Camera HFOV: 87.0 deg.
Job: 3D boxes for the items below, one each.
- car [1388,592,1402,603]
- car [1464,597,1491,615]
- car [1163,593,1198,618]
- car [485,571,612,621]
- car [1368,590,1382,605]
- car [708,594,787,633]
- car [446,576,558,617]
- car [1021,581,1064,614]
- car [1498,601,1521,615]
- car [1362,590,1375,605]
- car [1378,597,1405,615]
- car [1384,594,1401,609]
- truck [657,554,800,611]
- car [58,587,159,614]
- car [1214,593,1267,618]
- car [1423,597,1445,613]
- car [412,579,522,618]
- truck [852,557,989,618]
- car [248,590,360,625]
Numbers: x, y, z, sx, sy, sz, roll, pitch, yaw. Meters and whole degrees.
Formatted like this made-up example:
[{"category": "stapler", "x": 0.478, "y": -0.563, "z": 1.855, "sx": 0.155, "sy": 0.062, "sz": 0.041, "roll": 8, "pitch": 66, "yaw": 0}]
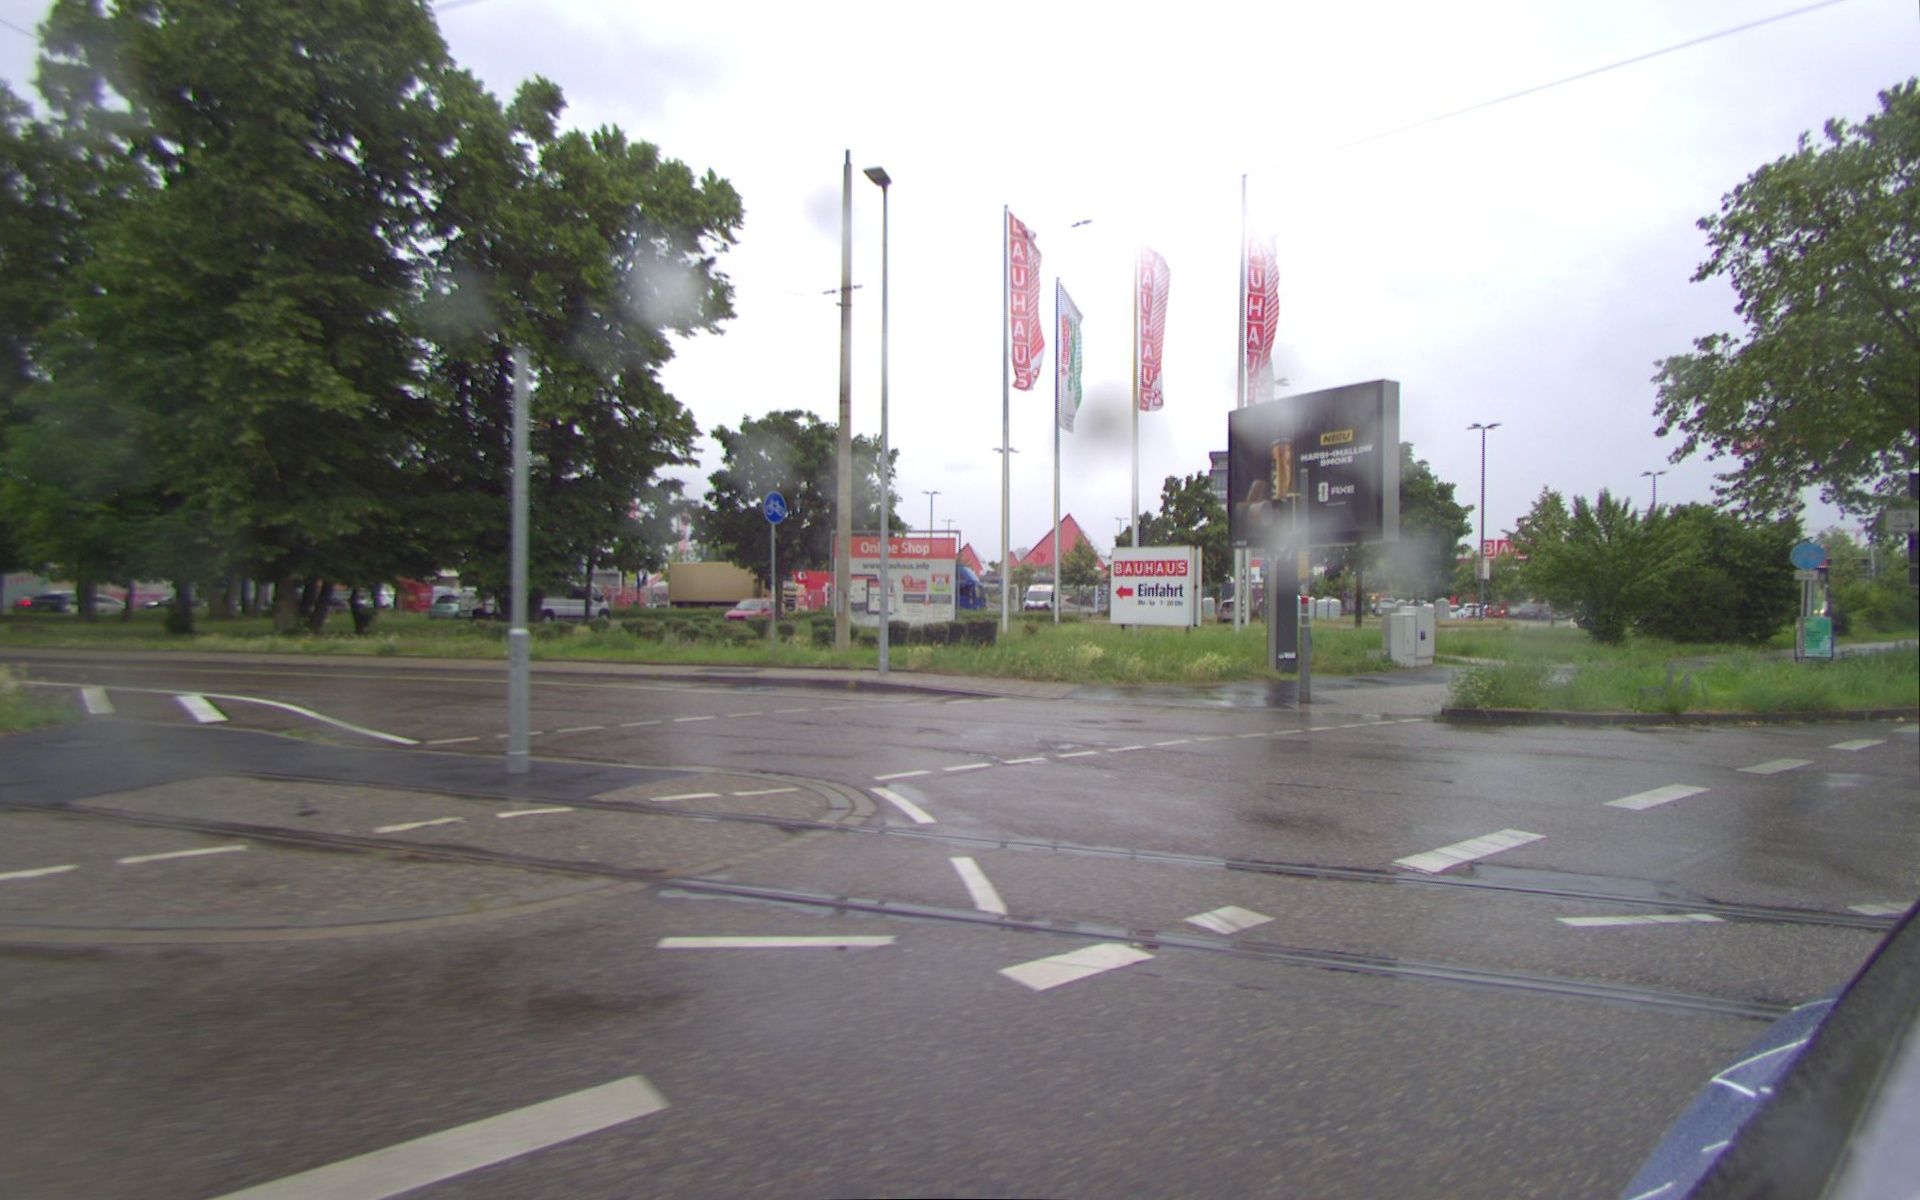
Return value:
[{"category": "car", "x": 66.761, "y": -0.368, "z": 155.172, "sx": 1.909, "sy": 1.748, "sz": 4.238, "roll": 0, "pitch": 0, "yaw": 24}, {"category": "car", "x": 45.838, "y": 0.490, "z": 89.695, "sx": 1.909, "sy": 1.572, "sz": 4.238, "roll": 0, "pitch": 0, "yaw": 24}, {"category": "car", "x": 12.269, "y": 0.287, "z": 56.196, "sx": 1.840, "sy": 1.309, "sz": 4.034, "roll": 0, "pitch": 1, "yaw": 13}, {"category": "car", "x": -19.463, "y": -0.213, "z": 48.275, "sx": 2.164, "sy": 2.232, "sz": 6.027, "roll": 0, "pitch": 0, "yaw": 20}, {"category": "car", "x": 68.833, "y": -0.442, "z": 167.785, "sx": 1.909, "sy": 2.510, "sz": 4.238, "roll": 0, "pitch": 0, "yaw": 24}, {"category": "car", "x": -9.329, "y": 0.568, "z": 44.697, "sx": 1.970, "sy": 1.616, "sz": 3.984, "roll": 0, "pitch": 0, "yaw": 13}, {"category": "car", "x": -22.227, "y": -0.190, "z": 49.371, "sx": 2.164, "sy": 1.859, "sz": 5.002, "roll": 0, "pitch": 1, "yaw": 20}, {"category": "car", "x": 6.258, "y": -0.173, "z": 76.321, "sx": 2.298, "sy": 2.391, "sz": 5.490, "roll": 0, "pitch": 0, "yaw": 15}, {"category": "car", "x": 62.242, "y": 0.887, "z": 114.728, "sx": 1.909, "sy": 1.572, "sz": 4.238, "roll": 0, "pitch": 0, "yaw": 24}, {"category": "car", "x": 70.207, "y": -0.477, "z": 173.894, "sx": 1.909, "sy": 2.510, "sz": 4.238, "roll": 0, "pitch": 0, "yaw": 24}, {"category": "car", "x": 37.923, "y": 0.519, "z": 89.025, "sx": 1.905, "sy": 1.572, "sz": 4.246, "roll": 0, "pitch": 0, "yaw": 19}, {"category": "car", "x": 56.956, "y": 0.178, "z": 133.289, "sx": 1.909, "sy": 1.921, "sz": 4.710, "roll": 0, "pitch": 0, "yaw": 24}, {"category": "truck", "x": -15.156, "y": -1.049, "z": 66.064, "sx": 9.283, "sy": 3.515, "sz": 2.535, "roll": -1, "pitch": -2, "yaw": 21}, {"category": "car", "x": -57.773, "y": -0.014, "z": 68.817, "sx": 1.941, "sy": 1.753, "sz": 5.003, "roll": 0, "pitch": 1, "yaw": 20}, {"category": "car", "x": 15.102, "y": 0.265, "z": 54.401, "sx": 1.853, "sy": 1.309, "sz": 4.007, "roll": 1, "pitch": 1, "yaw": 30}, {"category": "car", "x": 47.361, "y": 0.492, "z": 101.152, "sx": 1.909, "sy": 1.572, "sz": 4.238, "roll": 0, "pitch": 0, "yaw": 24}, {"category": "car", "x": -24.921, "y": -0.085, "z": 51.377, "sx": 2.164, "sy": 1.859, "sz": 5.002, "roll": 0, "pitch": 1, "yaw": 20}, {"category": "truck", "x": -2.395, "y": -0.739, "z": 61.056, "sx": 7.910, "sy": 3.514, "sz": 2.537, "roll": 0, "pitch": -1, "yaw": 18}, {"category": "car", "x": -36.607, "y": 0.386, "z": 56.650, "sx": 2.164, "sy": 1.859, "sz": 5.002, "roll": 0, "pitch": 1, "yaw": 20}]
